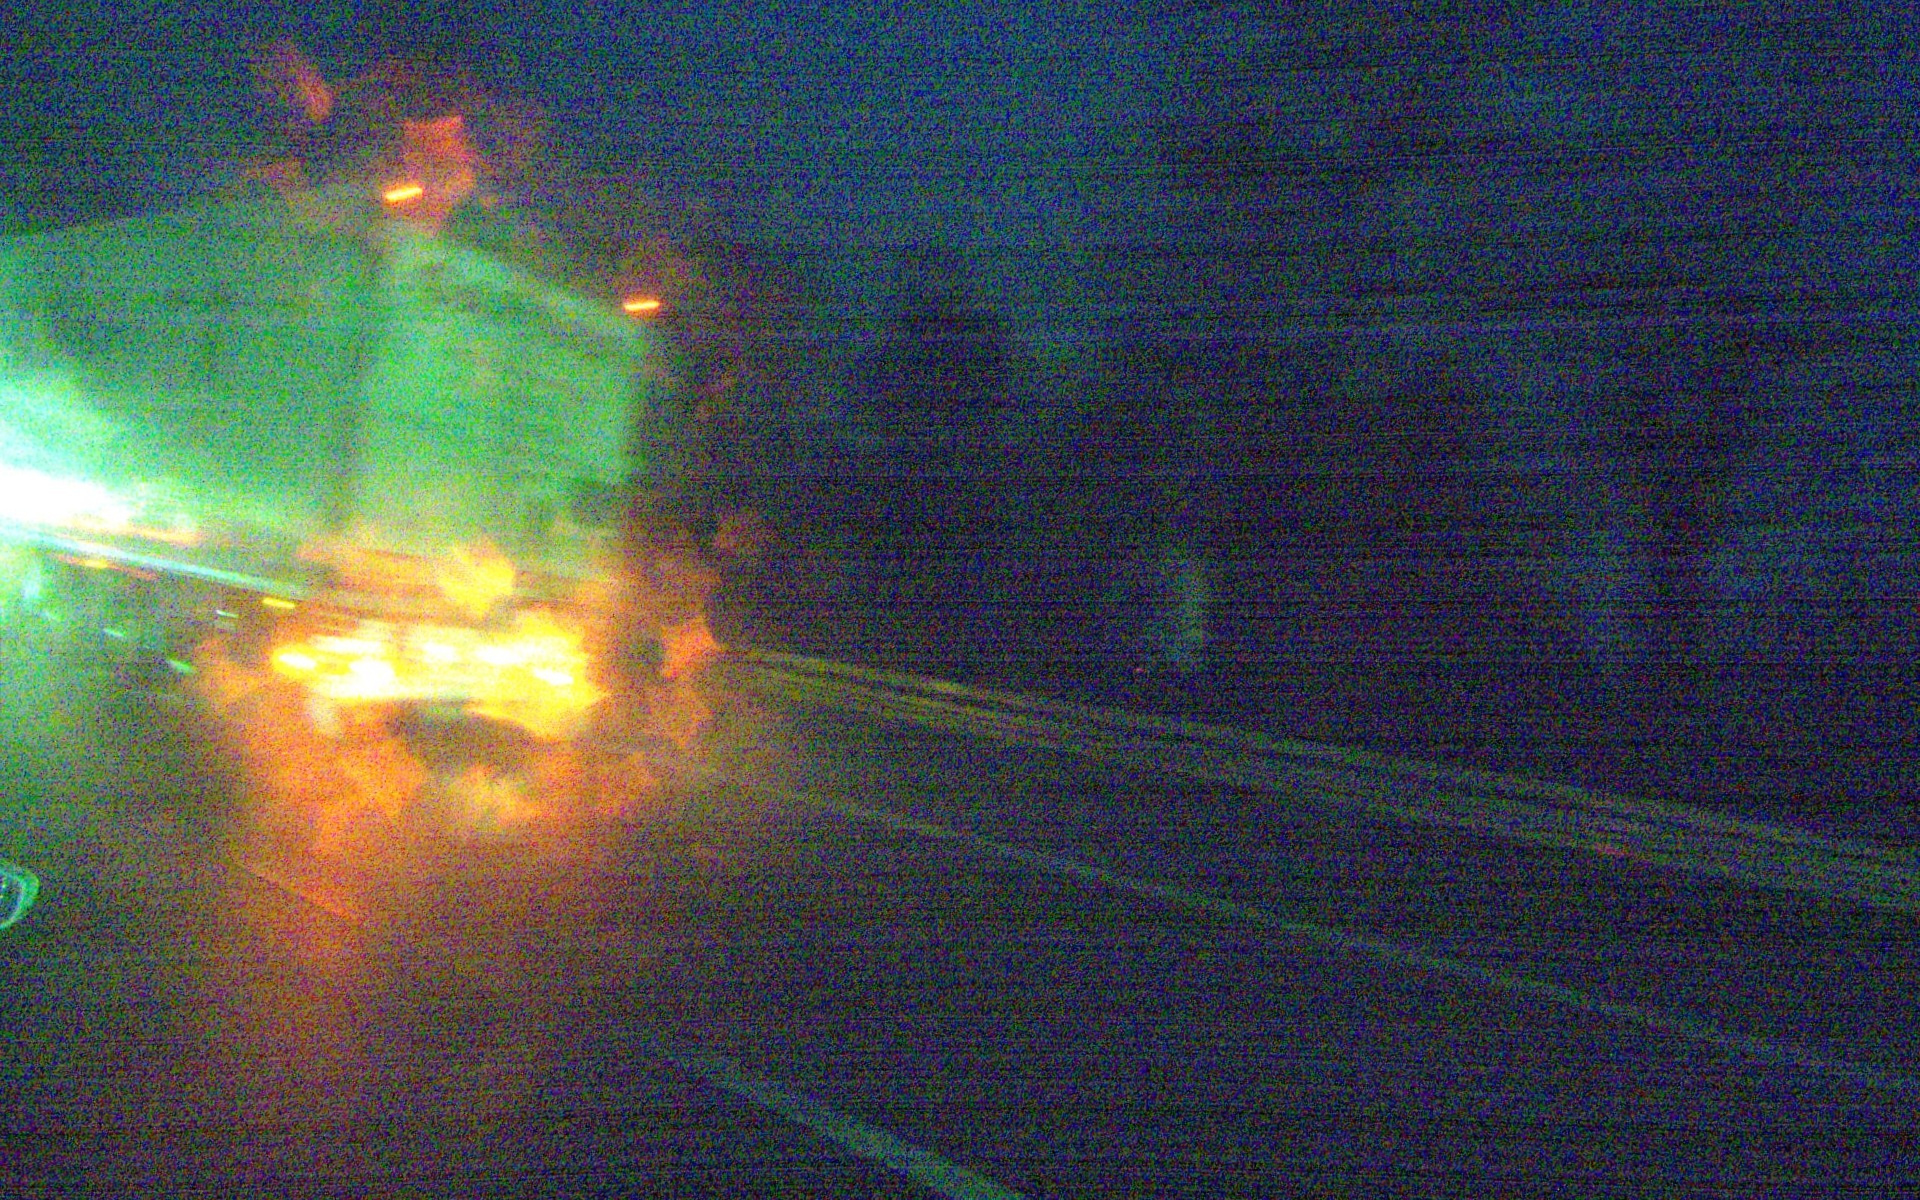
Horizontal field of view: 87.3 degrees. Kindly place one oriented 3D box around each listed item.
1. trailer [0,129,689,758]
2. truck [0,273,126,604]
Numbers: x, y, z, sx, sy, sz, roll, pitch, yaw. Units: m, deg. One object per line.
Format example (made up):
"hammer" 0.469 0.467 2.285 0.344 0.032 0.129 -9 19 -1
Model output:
"trailer" -9.111 -1.681 11.199 13.141 4.297 2.746 8 -1 29
"truck" -15.384 -2.536 14.692 5.202 4.287 2.720 8 -3 29
